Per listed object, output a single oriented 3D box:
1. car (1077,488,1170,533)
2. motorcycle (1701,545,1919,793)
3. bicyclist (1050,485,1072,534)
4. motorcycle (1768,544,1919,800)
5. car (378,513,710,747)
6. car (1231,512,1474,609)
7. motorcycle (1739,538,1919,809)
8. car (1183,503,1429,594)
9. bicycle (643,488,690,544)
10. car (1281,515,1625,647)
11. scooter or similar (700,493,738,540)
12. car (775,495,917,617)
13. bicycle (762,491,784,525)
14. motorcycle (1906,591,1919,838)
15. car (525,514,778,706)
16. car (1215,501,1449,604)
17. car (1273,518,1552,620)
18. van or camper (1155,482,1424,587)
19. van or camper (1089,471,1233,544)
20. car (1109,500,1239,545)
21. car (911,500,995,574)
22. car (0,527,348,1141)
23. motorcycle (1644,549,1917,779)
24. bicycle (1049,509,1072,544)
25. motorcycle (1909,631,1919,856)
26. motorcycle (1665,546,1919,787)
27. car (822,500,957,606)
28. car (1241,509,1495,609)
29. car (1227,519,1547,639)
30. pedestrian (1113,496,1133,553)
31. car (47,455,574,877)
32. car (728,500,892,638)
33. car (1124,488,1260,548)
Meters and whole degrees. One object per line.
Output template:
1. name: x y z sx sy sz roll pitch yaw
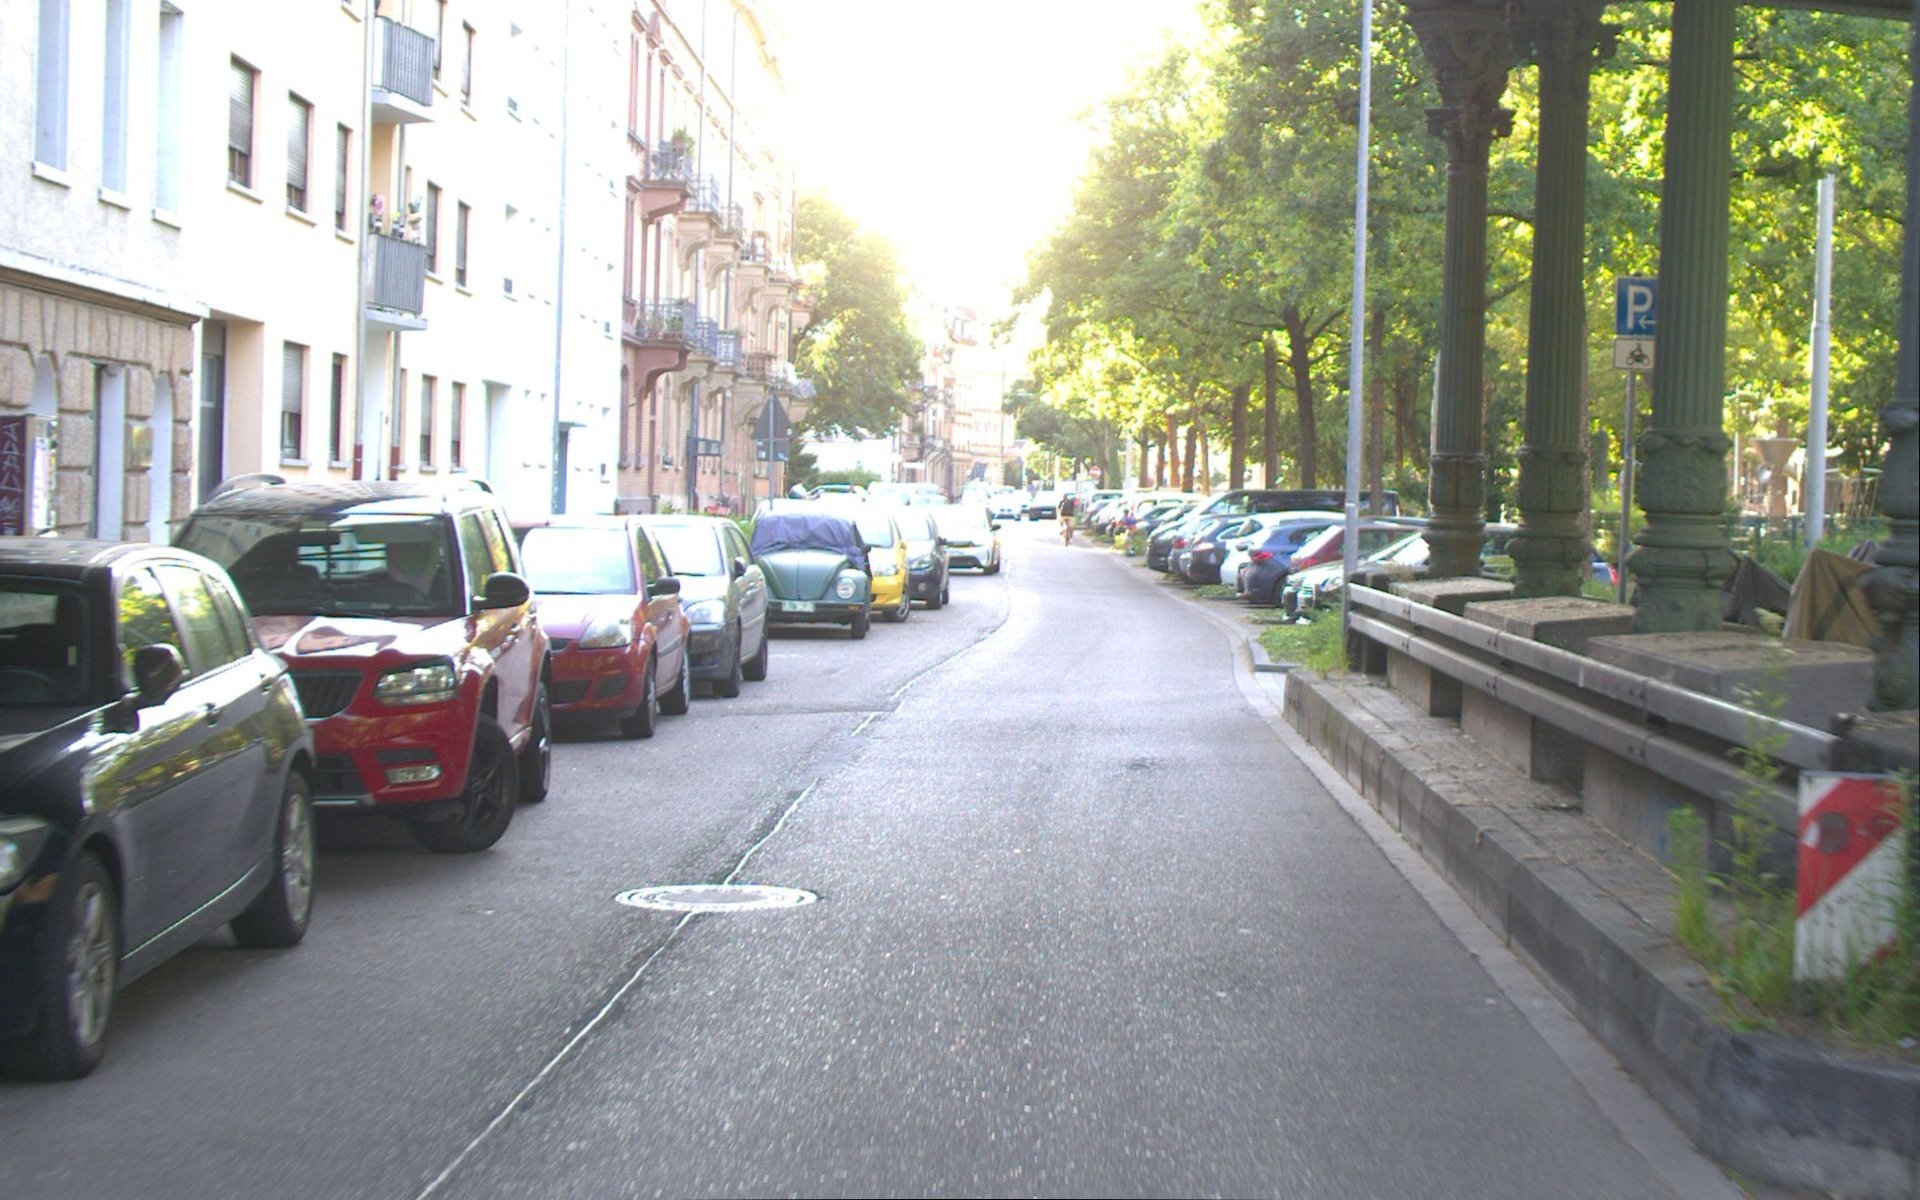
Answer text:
1. car: 7.414 -4.046 155.676 3.986 1.788 1.859 3 0 -2
2. motorcycle: 5.370 0.415 20.732 1.602 1.403 0.712 3 0 21
3. bicyclist: 3.333 -2.966 113.223 0.627 1.568 0.802 3 0 0
4. motorcycle: 5.513 0.427 19.627 1.602 1.403 0.712 3 0 21
5. car: -2.781 0.144 23.763 1.689 1.436 4.000 2 1 1
6. car: 6.319 -0.631 55.615 3.782 1.468 1.664 1 0 3
7. motorcycle: 5.143 0.411 18.725 1.602 1.403 0.712 3 0 21
8. car: 6.336 -0.943 62.975 4.400 1.572 1.664 1 0 6
9. bicycle: -6.783 -1.949 79.575 0.737 1.202 2.514 3 3 2
10. car: 5.818 -0.225 40.854 3.781 1.467 1.635 1 0 -3
11. scooter or similar: -6.829 -2.364 97.596 0.783 1.218 2.704 3 0 1
12. car: -1.477 -0.615 45.818 1.702 1.520 3.774 2 2 0
13. bicycle: -6.566 -3.225 120.666 0.705 1.143 1.890 3 0 -2
14. motorcycle: 5.252 0.566 15.710 1.599 1.128 0.713 3 0 -15
15. car: -2.508 0.028 28.766 1.637 1.461 4.000 -1 1 2
16. car: 6.275 -0.802 58.250 3.782 1.640 1.664 1 0 2
17. car: 6.601 -0.455 50.399 3.781 1.396 1.767 1 0 -3
18. van or camper: 6.754 -1.373 70.892 5.414 2.020 2.029 1 2 3
19. van or camper: 7.301 -3.357 125.395 4.981 2.369 2.185 3 0 -1
20. car: 7.042 -2.546 112.881 4.220 1.448 1.648 0 2 5
21. car: -0.129 -1.366 73.677 1.668 1.426 4.001 -1 3 1
22. car: -3.105 0.520 10.312 1.717 1.459 4.000 1 1 2
23. motorcycle: 5.399 0.410 22.614 1.602 1.403 0.712 3 0 21
24. bicycle: 3.296 -2.422 113.080 0.641 1.096 1.944 3 0 0
25. motorcycle: 5.031 0.560 14.433 1.831 1.128 0.851 3 0 -22
26. motorcycle: 5.327 0.410 21.602 1.602 1.403 0.712 3 0 21
27. car: -0.998 -0.723 50.677 1.739 1.474 4.000 1 2 2
28. car: 6.241 -0.618 52.751 3.783 1.442 1.664 1 0 6
29. car: 5.280 -0.261 42.870 3.782 1.396 1.827 1 0 2
30. pedestrian: 4.561 -2.118 96.369 0.380 1.579 0.518 3 4 20
31. car: -2.900 0.221 16.224 1.716 1.702 4.323 1 1 -1
32. car: -1.728 -0.397 40.607 1.567 1.512 3.782 2 2 3
33. car: 7.295 -2.596 108.421 4.220 1.857 1.762 0 2 2
